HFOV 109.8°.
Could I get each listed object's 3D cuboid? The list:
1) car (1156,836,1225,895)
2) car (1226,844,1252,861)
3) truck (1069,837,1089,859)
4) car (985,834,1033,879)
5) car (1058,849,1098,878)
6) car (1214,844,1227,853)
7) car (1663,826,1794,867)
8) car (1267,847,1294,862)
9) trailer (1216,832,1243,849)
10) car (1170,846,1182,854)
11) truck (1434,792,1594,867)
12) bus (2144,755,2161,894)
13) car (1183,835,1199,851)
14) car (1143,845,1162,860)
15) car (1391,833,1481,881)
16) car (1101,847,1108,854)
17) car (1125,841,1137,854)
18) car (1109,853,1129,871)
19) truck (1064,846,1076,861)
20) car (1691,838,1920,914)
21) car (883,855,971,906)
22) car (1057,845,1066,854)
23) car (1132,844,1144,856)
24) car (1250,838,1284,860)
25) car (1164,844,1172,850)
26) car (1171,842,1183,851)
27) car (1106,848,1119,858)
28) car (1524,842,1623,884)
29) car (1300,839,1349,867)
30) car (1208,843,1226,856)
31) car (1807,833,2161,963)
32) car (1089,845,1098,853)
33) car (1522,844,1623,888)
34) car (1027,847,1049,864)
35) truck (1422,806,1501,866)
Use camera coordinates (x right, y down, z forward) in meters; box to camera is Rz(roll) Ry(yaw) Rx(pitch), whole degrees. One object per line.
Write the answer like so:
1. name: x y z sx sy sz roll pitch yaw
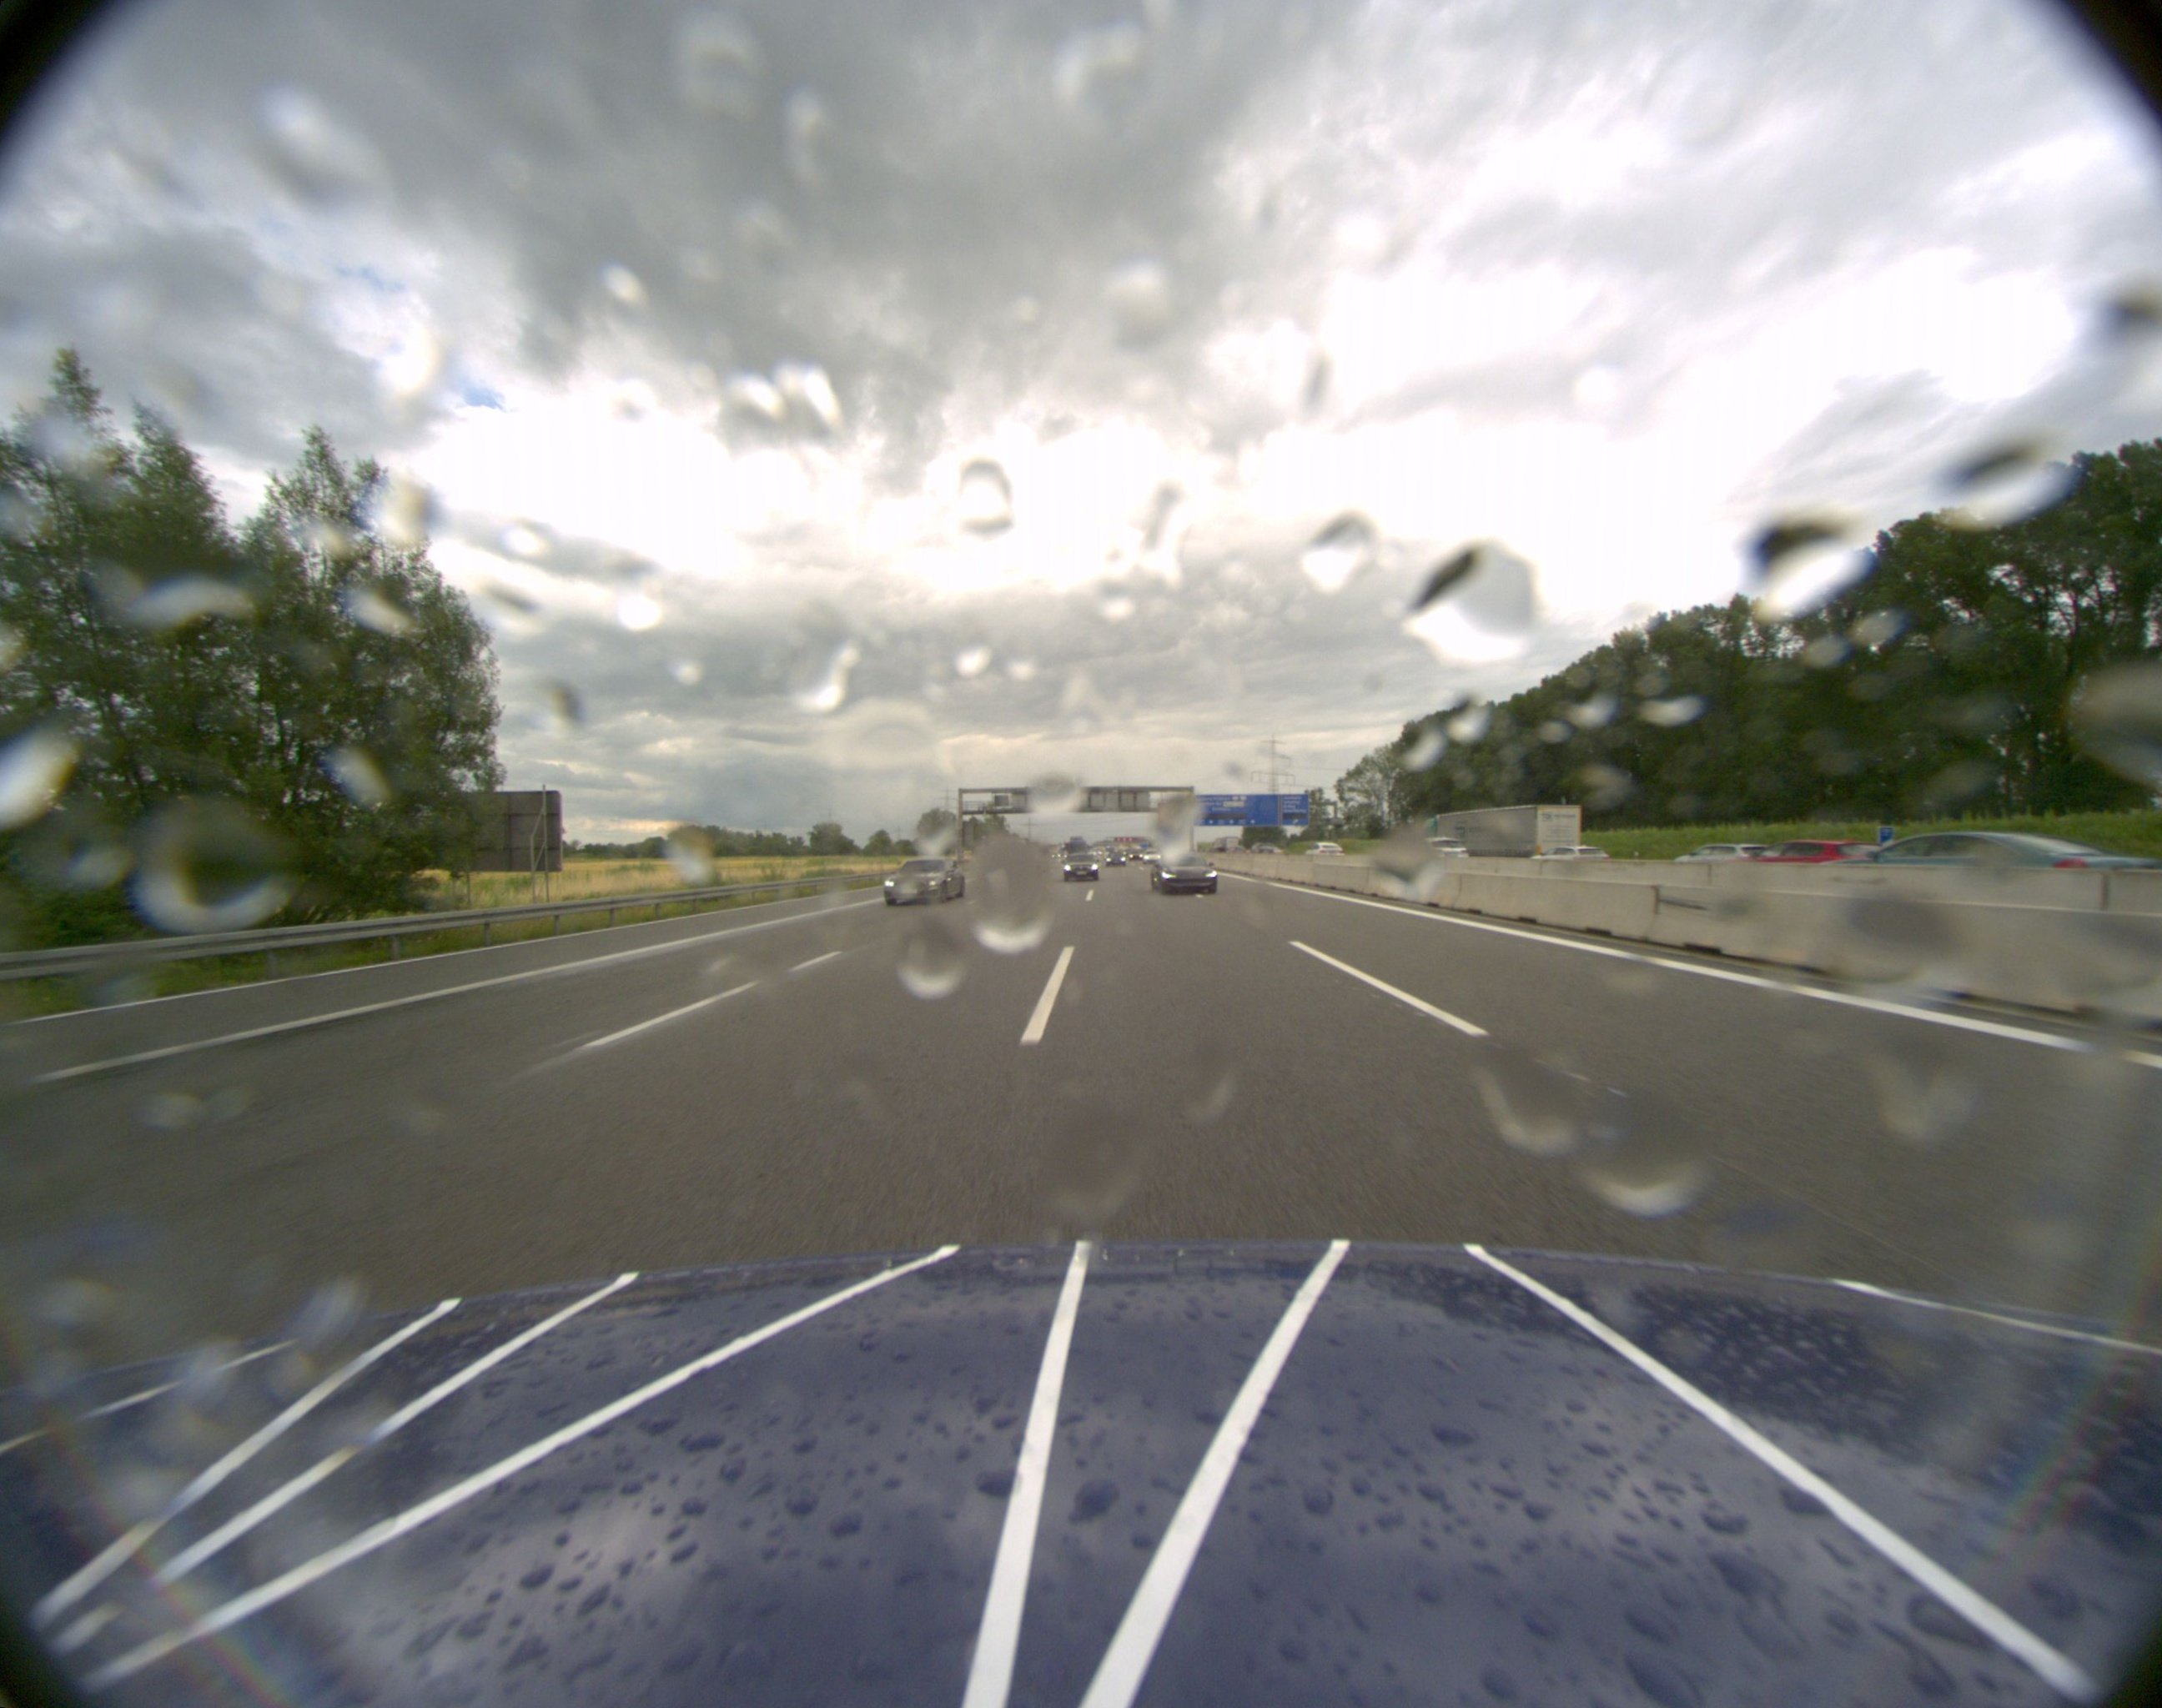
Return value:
1. car: 3.729 0.333 26.708 1.998 1.810 5.163 -2 1 4
2. car: 18.545 -0.172 89.543 1.998 1.874 5.186 -2 1 1
3. truck: -0.235 -0.809 101.337 2.391 2.726 6.593 -2 1 0
4. car: -4.232 0.106 45.479 2.145 2.486 5.447 -2 1 2
5. car: -0.094 0.469 40.209 1.922 1.407 4.000 -1 0 2
6. car: 27.661 -1.139 150.576 1.998 1.696 4.000 -2 1 1
7. car: 28.195 -0.336 33.323 1.998 1.608 4.401 -2 1 0
8. car: 23.181 0.044 88.409 1.998 1.694 5.078 -1 0 2
9. trailer: 32.090 -2.830 165.145 3.117 3.487 14.451 -2 1 1
10. car: 20.577 -0.908 164.997 1.998 1.717 4.017 -2 1 1
11. truck: 28.450 -1.500 51.175 3.155 4.288 13.951 -2 1 2
12. bus: 26.981 -0.678 13.411 2.838 3.313 9.964 -2 1 3
13. car: 19.164 -1.944 132.726 1.998 2.601 6.342 -2 1 1
14. car: 7.540 -0.169 80.499 1.822 1.565 4.000 -2 1 2
15. car: 16.024 0.093 34.597 1.998 2.002 4.763 -2 1 2
16. car: 6.765 -0.994 221.485 1.998 1.801 4.273 -1 1 1
17. car: 9.902 -1.250 150.567 2.144 2.486 5.449 -2 1 5
18. car: 3.685 0.738 73.511 1.710 1.562 4.347 -2 1 5
19. truck: -2.015 -0.059 143.468 1.789 2.661 5.768 -2 0 2
20. car: 19.616 0.518 20.940 1.998 1.818 4.638 -2 1 2
21. car: -5.148 0.843 26.094 1.944 1.482 4.775 -2 1 1
22. car: -4.432 -1.060 170.032 1.836 2.002 3.862 -2 1 0
23. car: 7.947 -0.592 105.817 1.710 1.622 4.001 -2 1 5
24. car: 17.340 -0.457 71.123 1.998 1.887 5.186 -2 1 2
25. car: 25.479 -2.026 222.498 1.998 1.717 4.017 -2 1 1
26. car: 18.754 -1.468 148.316 1.873 1.648 4.000 -2 1 1
27. car: 4.823 -0.166 117.220 1.806 1.424 3.999 -2 1 0
28. car: 23.867 0.396 37.051 1.998 1.844 4.401 -2 1 0
29. car: 17.344 -0.069 54.346 1.998 1.842 5.078 -1 0 2
30. car: 19.435 -0.662 108.648 1.709 1.783 4.429 -2 1 0
31. car: 15.926 0.605 13.307 1.998 1.844 4.635 -2 1 0
32. car: 3.063 -1.312 180.406 1.998 1.810 5.163 -2 1 2
33. car: 23.936 0.529 37.239 1.998 2.002 4.638 -2 1 2
34. car: -4.273 0.096 76.460 1.999 1.632 4.629 -1 0 -2
35. truck: 28.665 -1.327 57.509 3.126 4.257 5.911 -1 1 2
